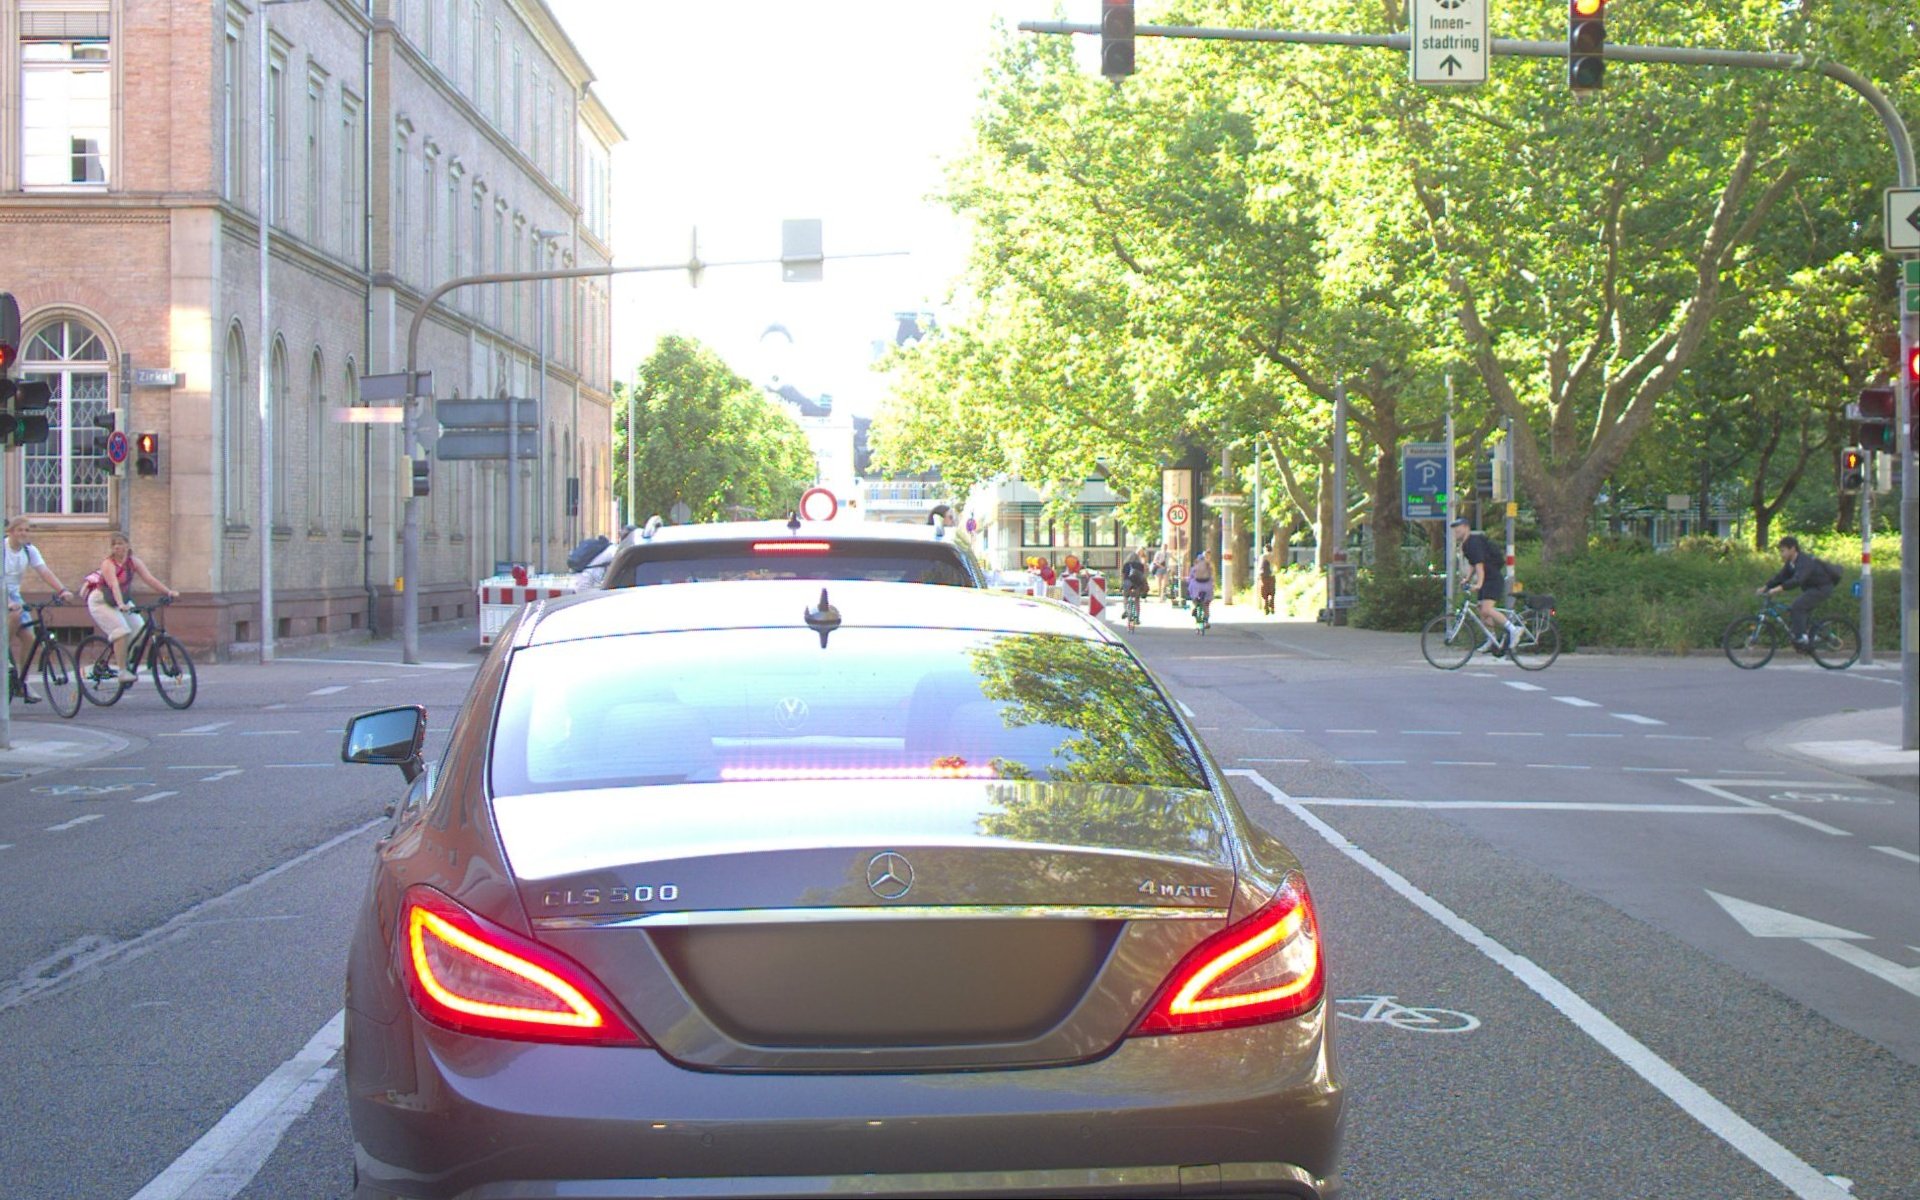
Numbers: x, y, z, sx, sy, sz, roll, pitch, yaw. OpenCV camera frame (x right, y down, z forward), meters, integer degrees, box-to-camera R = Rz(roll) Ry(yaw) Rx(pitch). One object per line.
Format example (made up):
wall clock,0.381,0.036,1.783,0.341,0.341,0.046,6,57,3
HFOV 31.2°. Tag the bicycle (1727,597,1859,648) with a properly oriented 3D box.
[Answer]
bicycle,10.708,0.289,44.217,1.587,0.632,0.496,0,1,3

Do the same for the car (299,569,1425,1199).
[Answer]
car,-0.426,0.689,7.635,1.803,1.451,4.351,0,0,-8

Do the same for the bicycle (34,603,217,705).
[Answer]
bicycle,-8.091,0.509,33.314,1.861,0.926,0.694,1,1,36

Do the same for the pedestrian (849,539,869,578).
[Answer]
pedestrian,-4.130,-1.701,140.787,0.801,1.571,0.845,0,1,-1

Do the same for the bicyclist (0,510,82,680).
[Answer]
bicyclist,-8.772,-0.054,31.950,0.838,1.549,0.843,1,1,31

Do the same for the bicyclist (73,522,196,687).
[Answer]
bicyclist,-7.977,0.030,33.224,0.981,1.572,0.686,1,1,36

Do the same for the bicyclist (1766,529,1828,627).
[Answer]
bicyclist,10.767,-0.283,44.241,0.704,1.256,0.457,0,1,3

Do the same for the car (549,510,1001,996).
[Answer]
car,-0.717,0.491,13.636,1.517,1.641,3.881,1,1,-3

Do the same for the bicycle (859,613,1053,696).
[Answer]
bicycle,-0.037,0.557,35.426,1.974,0.834,0.677,0,1,1

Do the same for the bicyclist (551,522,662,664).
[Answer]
bicyclist,-3.807,-0.082,37.042,1.075,1.514,0.716,0,1,5

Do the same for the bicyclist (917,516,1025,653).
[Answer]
bicyclist,0.110,-0.166,35.410,1.103,1.398,0.657,0,1,-1

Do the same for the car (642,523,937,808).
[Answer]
car,-1.076,0.369,23.255,1.820,1.756,4.000,0,1,-1

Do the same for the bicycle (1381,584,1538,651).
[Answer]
bicycle,6.283,0.219,43.274,1.891,0.834,0.458,0,1,-8

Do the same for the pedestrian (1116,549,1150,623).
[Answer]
pedestrian,3.508,-0.282,69.789,0.648,1.498,0.637,0,1,-1

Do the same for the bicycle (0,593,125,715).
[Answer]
bicycle,-8.746,0.486,31.953,1.833,1.075,0.864,1,1,31

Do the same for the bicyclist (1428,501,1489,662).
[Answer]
bicyclist,6.268,-0.236,43.264,0.652,2.007,0.440,0,1,-8

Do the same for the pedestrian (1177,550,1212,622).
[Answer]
pedestrian,4.715,-0.283,69.086,0.648,1.428,0.659,0,1,-1

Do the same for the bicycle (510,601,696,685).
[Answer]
bicycle,-3.839,0.455,37.042,1.893,0.879,0.725,0,1,4
